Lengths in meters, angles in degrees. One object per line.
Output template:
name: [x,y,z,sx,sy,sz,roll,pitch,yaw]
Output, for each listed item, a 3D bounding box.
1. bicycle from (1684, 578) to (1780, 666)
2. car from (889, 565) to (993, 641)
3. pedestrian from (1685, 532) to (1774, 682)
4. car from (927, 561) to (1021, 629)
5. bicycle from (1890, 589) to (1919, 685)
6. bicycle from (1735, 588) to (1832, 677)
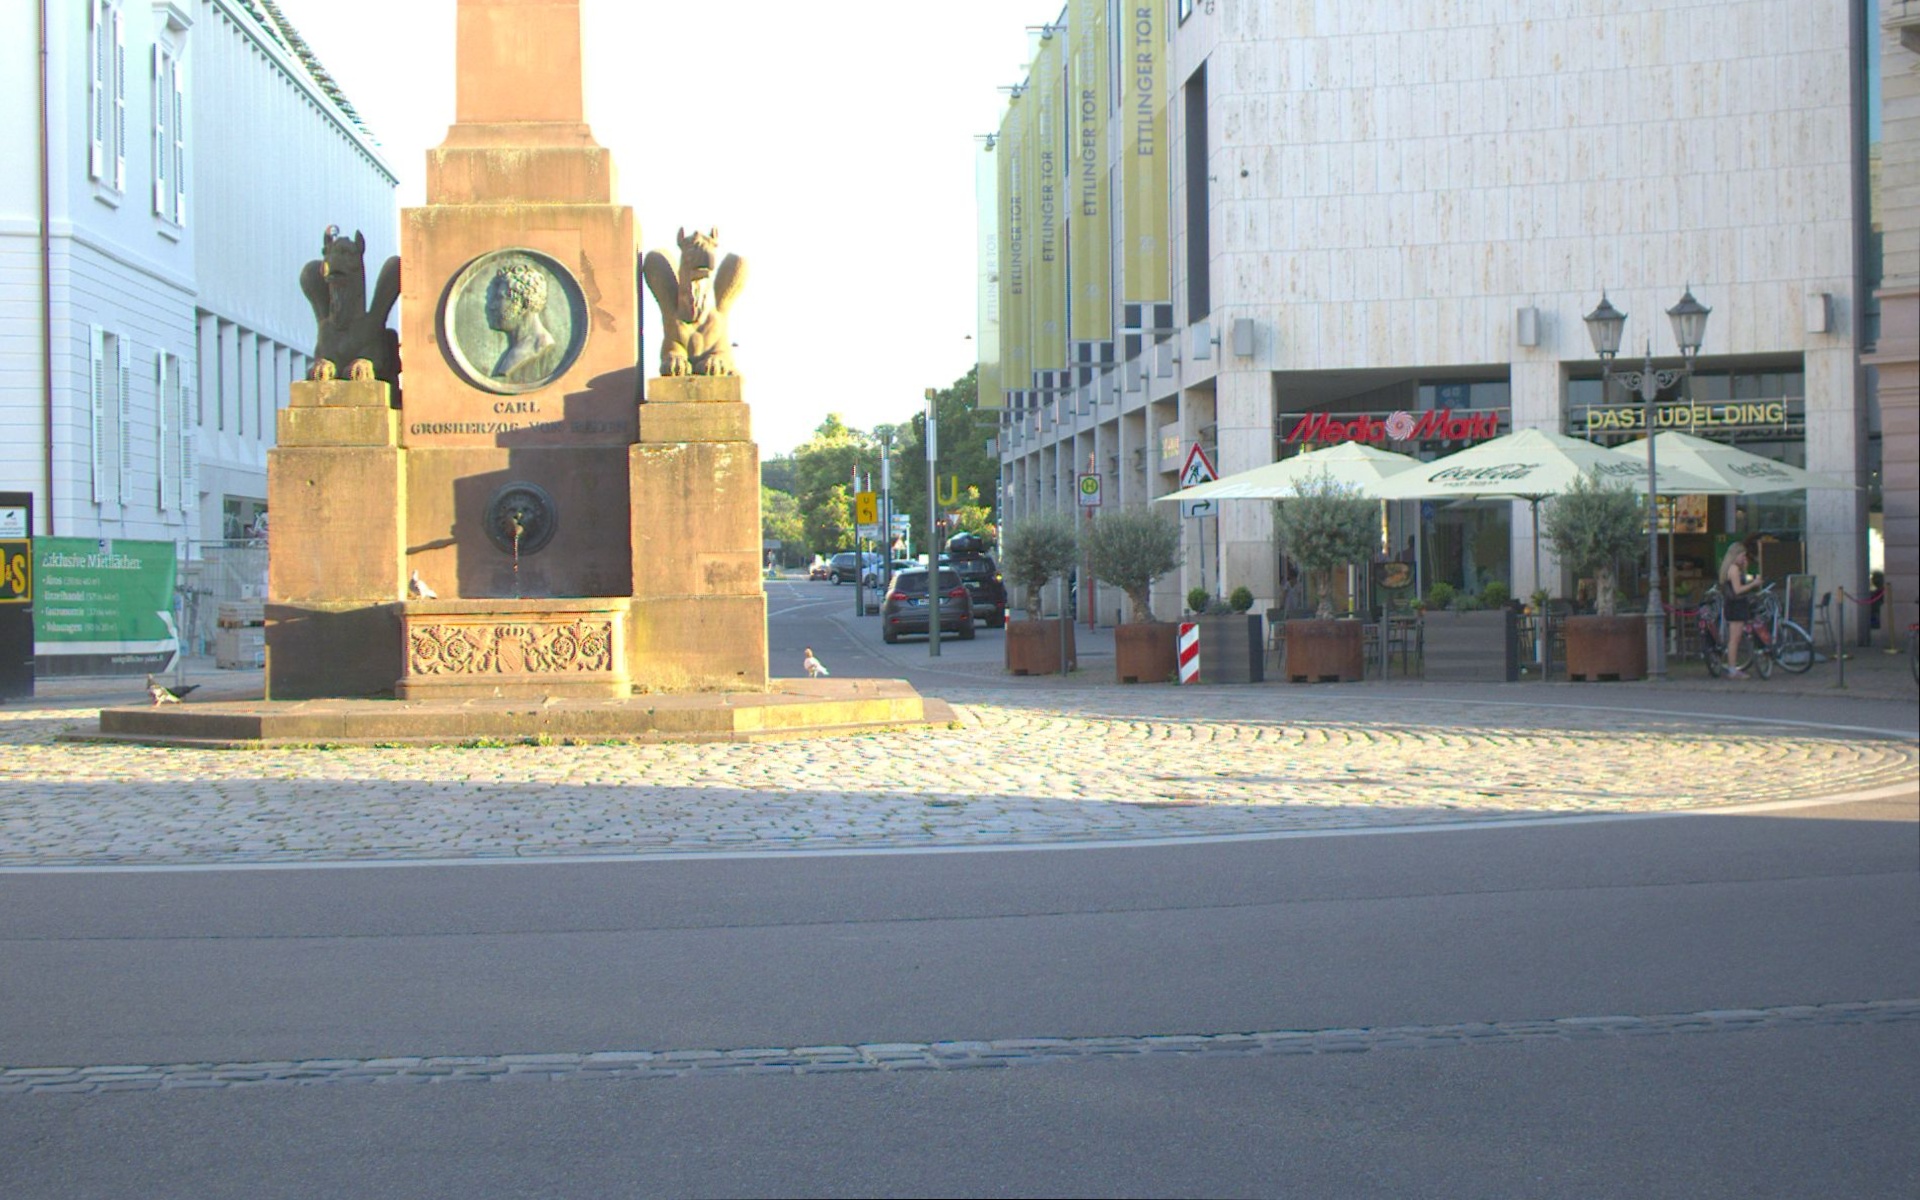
bicycle: [9.366,0.261,41.677,0.600,1.028,1.642,0,1,33]
car: [-0.414,0.035,69.021,1.993,1.459,4.000,-1,1,-1]
pedestrian: [8.990,0.073,40.202,0.905,1.722,0.849,-1,1,6]
car: [0.283,-0.128,77.525,1.993,1.459,4.000,-1,1,-1]
bicycle: [10.800,0.398,38.018,0.507,1.028,1.642,0,1,33]
bicycle: [9.918,0.379,41.364,0.620,1.028,1.642,0,1,33]
